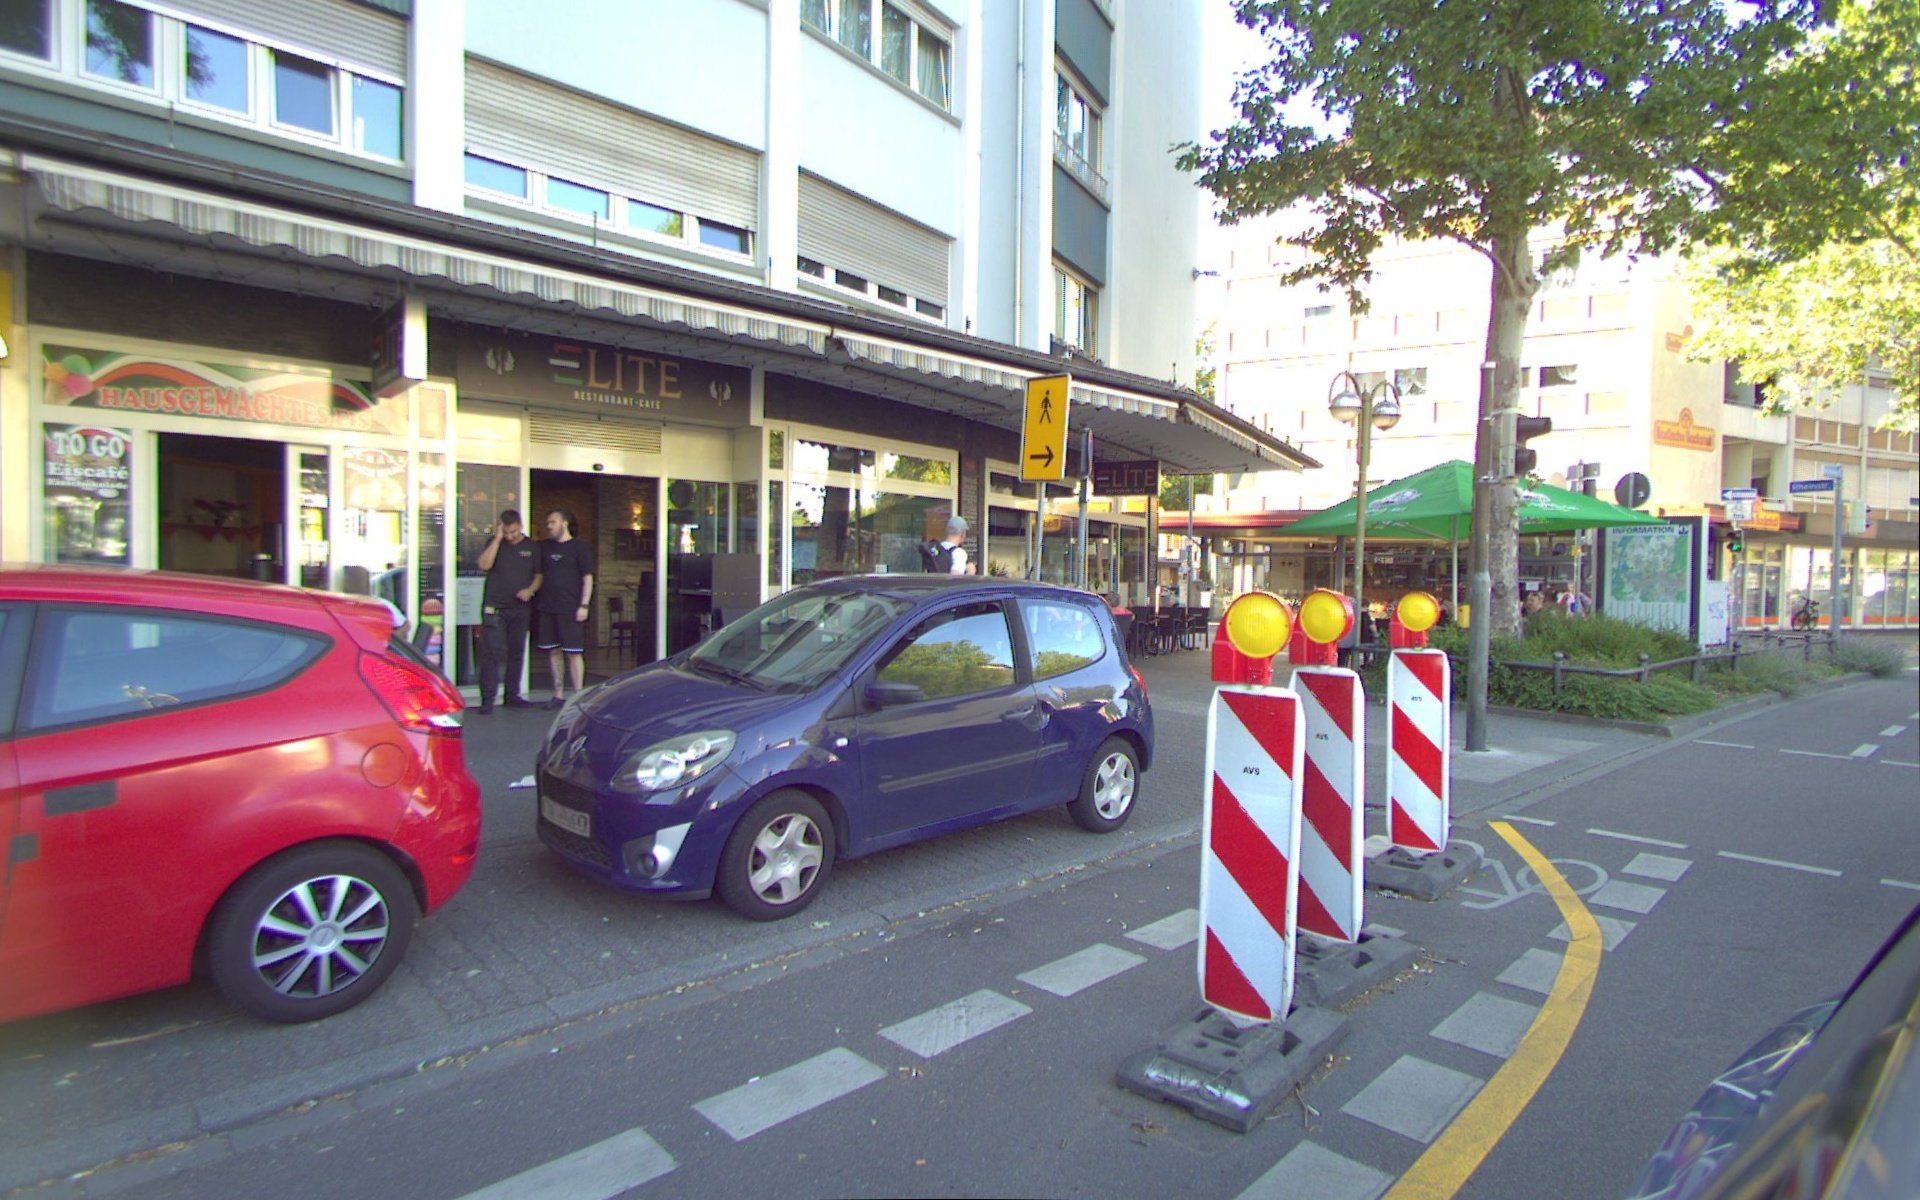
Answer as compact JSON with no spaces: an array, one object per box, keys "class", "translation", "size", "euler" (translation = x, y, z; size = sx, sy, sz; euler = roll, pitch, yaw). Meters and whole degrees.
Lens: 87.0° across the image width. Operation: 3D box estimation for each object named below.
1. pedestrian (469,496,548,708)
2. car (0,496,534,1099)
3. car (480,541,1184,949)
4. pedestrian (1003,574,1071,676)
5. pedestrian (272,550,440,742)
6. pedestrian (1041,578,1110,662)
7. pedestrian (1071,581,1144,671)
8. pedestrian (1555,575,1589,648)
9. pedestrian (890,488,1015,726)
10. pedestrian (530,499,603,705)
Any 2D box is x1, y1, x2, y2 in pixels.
[{"class":"pedestrian","translation":[-3.991,0.002,8.946],"size":[0.547,1.800,0.395],"euler":[-1,4,-43]},{"class":"car","translation":[-3.519,0.479,3.003],"size":[3.761,1.614,1.784],"euler":[-1,5,-45]},{"class":"car","translation":[-0.532,0.502,5.703],"size":[3.551,1.485,1.769],"euler":[-1,5,-44]},{"class":"pedestrian","translation":[1.030,0.321,13.612],"size":[0.685,1.323,0.793],"euler":[1,1,-13]},{"class":"pedestrian","translation":[-4.678,0.303,7.827],"size":[0.937,1.352,1.069],"euler":[0,2,-42]},{"class":"pedestrian","translation":[1.717,0.280,15.102],"size":[0.776,1.207,0.648],"euler":[0,1,-34]},{"class":"pedestrian","translation":[2.062,0.350,14.256],"size":[0.685,1.207,0.881],"euler":[0,1,-18]},{"class":"pedestrian","translation":[14.060,0.253,23.242],"size":[0.624,1.657,0.525],"euler":[2,1,34]},{"class":"pedestrian","translation":[-0.061,0.046,8.944],"size":[0.874,1.983,0.648],"euler":[0,1,-41]},{"class":"pedestrian","translation":[-3.539,0.011,9.113],"size":[0.545,1.803,0.397],"euler":[1,3,-11]}]
